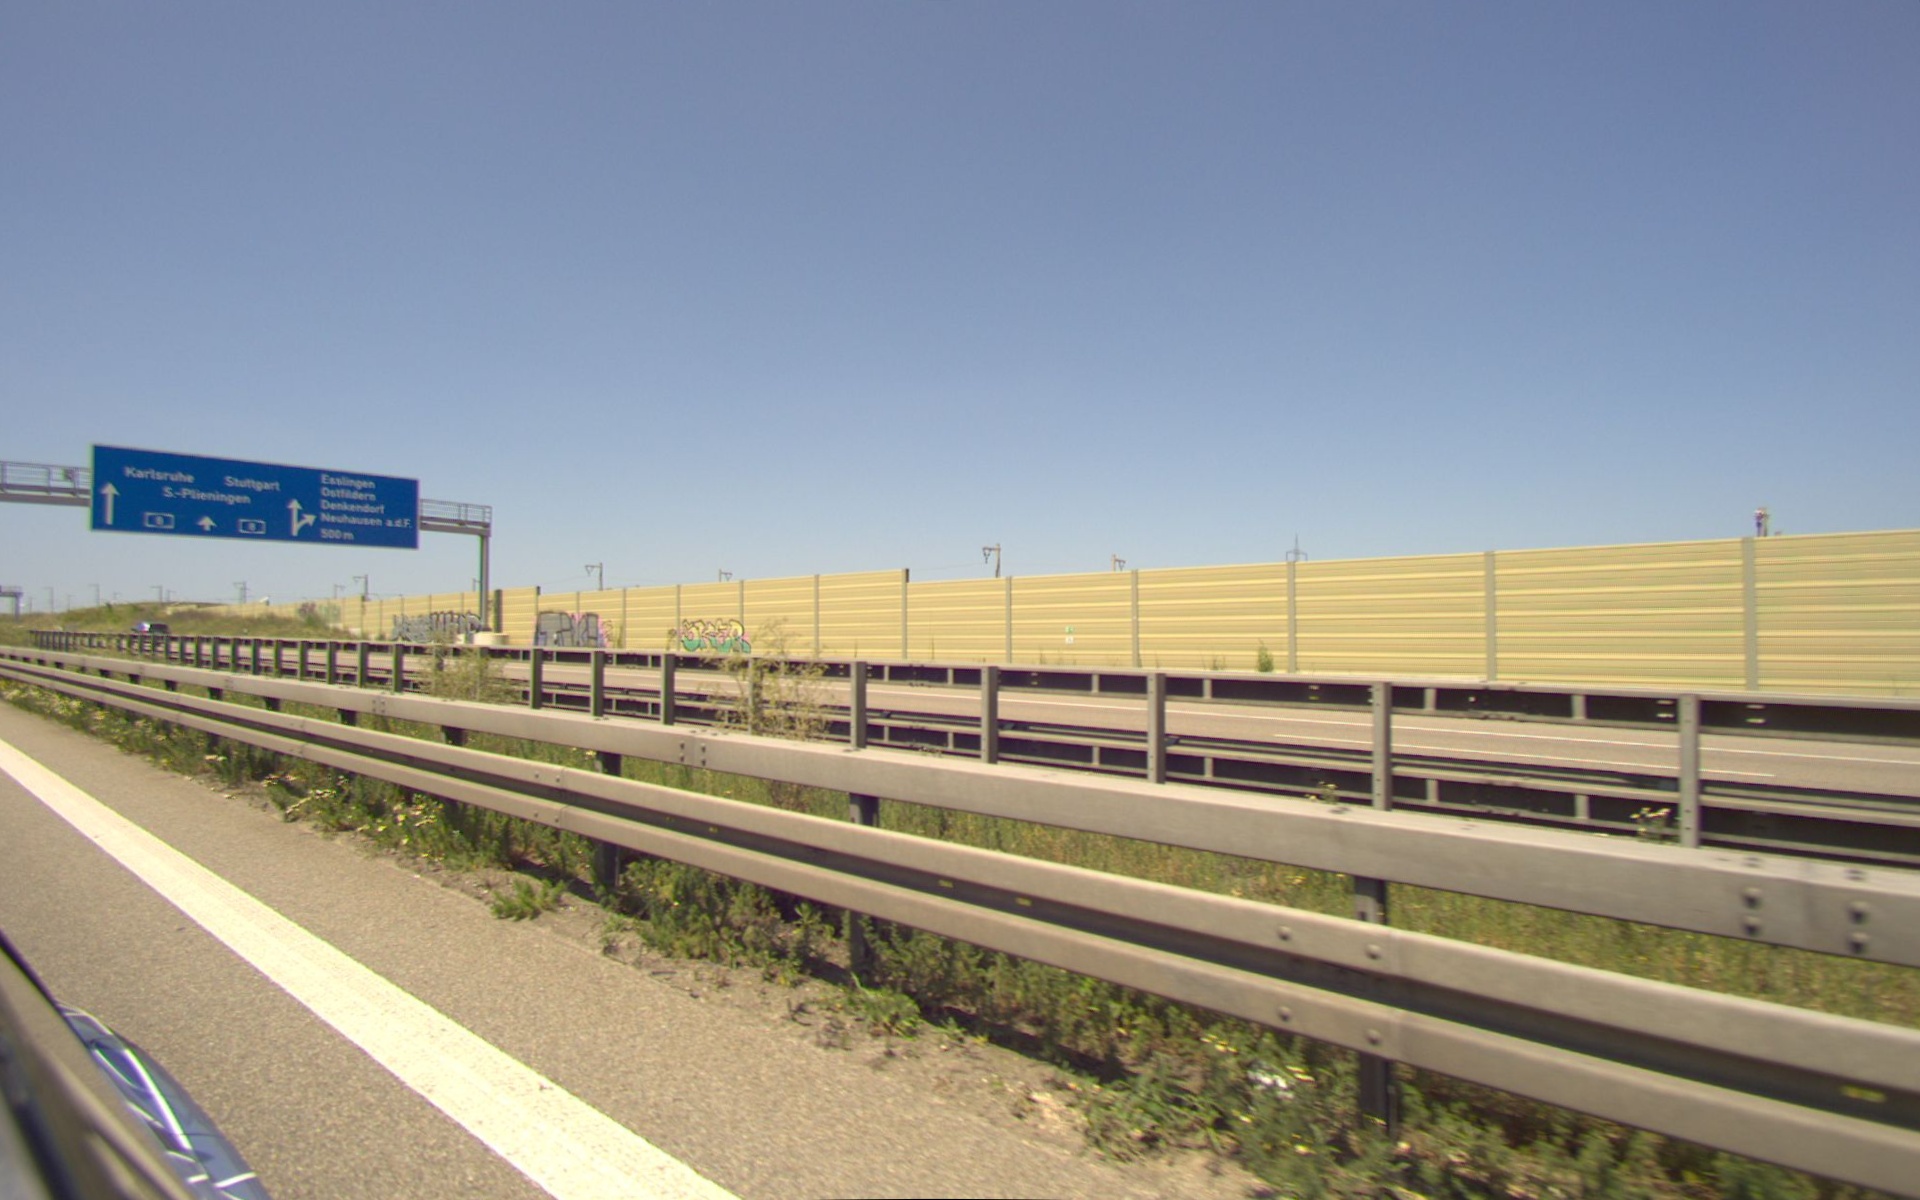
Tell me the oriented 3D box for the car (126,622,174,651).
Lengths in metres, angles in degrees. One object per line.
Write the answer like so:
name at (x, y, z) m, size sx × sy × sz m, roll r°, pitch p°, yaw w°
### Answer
car at (-57.802, 2.566, 72.225) m, size 3.998 × 2.029 × 1.973 m, roll -1°, pitch -2°, yaw 41°
